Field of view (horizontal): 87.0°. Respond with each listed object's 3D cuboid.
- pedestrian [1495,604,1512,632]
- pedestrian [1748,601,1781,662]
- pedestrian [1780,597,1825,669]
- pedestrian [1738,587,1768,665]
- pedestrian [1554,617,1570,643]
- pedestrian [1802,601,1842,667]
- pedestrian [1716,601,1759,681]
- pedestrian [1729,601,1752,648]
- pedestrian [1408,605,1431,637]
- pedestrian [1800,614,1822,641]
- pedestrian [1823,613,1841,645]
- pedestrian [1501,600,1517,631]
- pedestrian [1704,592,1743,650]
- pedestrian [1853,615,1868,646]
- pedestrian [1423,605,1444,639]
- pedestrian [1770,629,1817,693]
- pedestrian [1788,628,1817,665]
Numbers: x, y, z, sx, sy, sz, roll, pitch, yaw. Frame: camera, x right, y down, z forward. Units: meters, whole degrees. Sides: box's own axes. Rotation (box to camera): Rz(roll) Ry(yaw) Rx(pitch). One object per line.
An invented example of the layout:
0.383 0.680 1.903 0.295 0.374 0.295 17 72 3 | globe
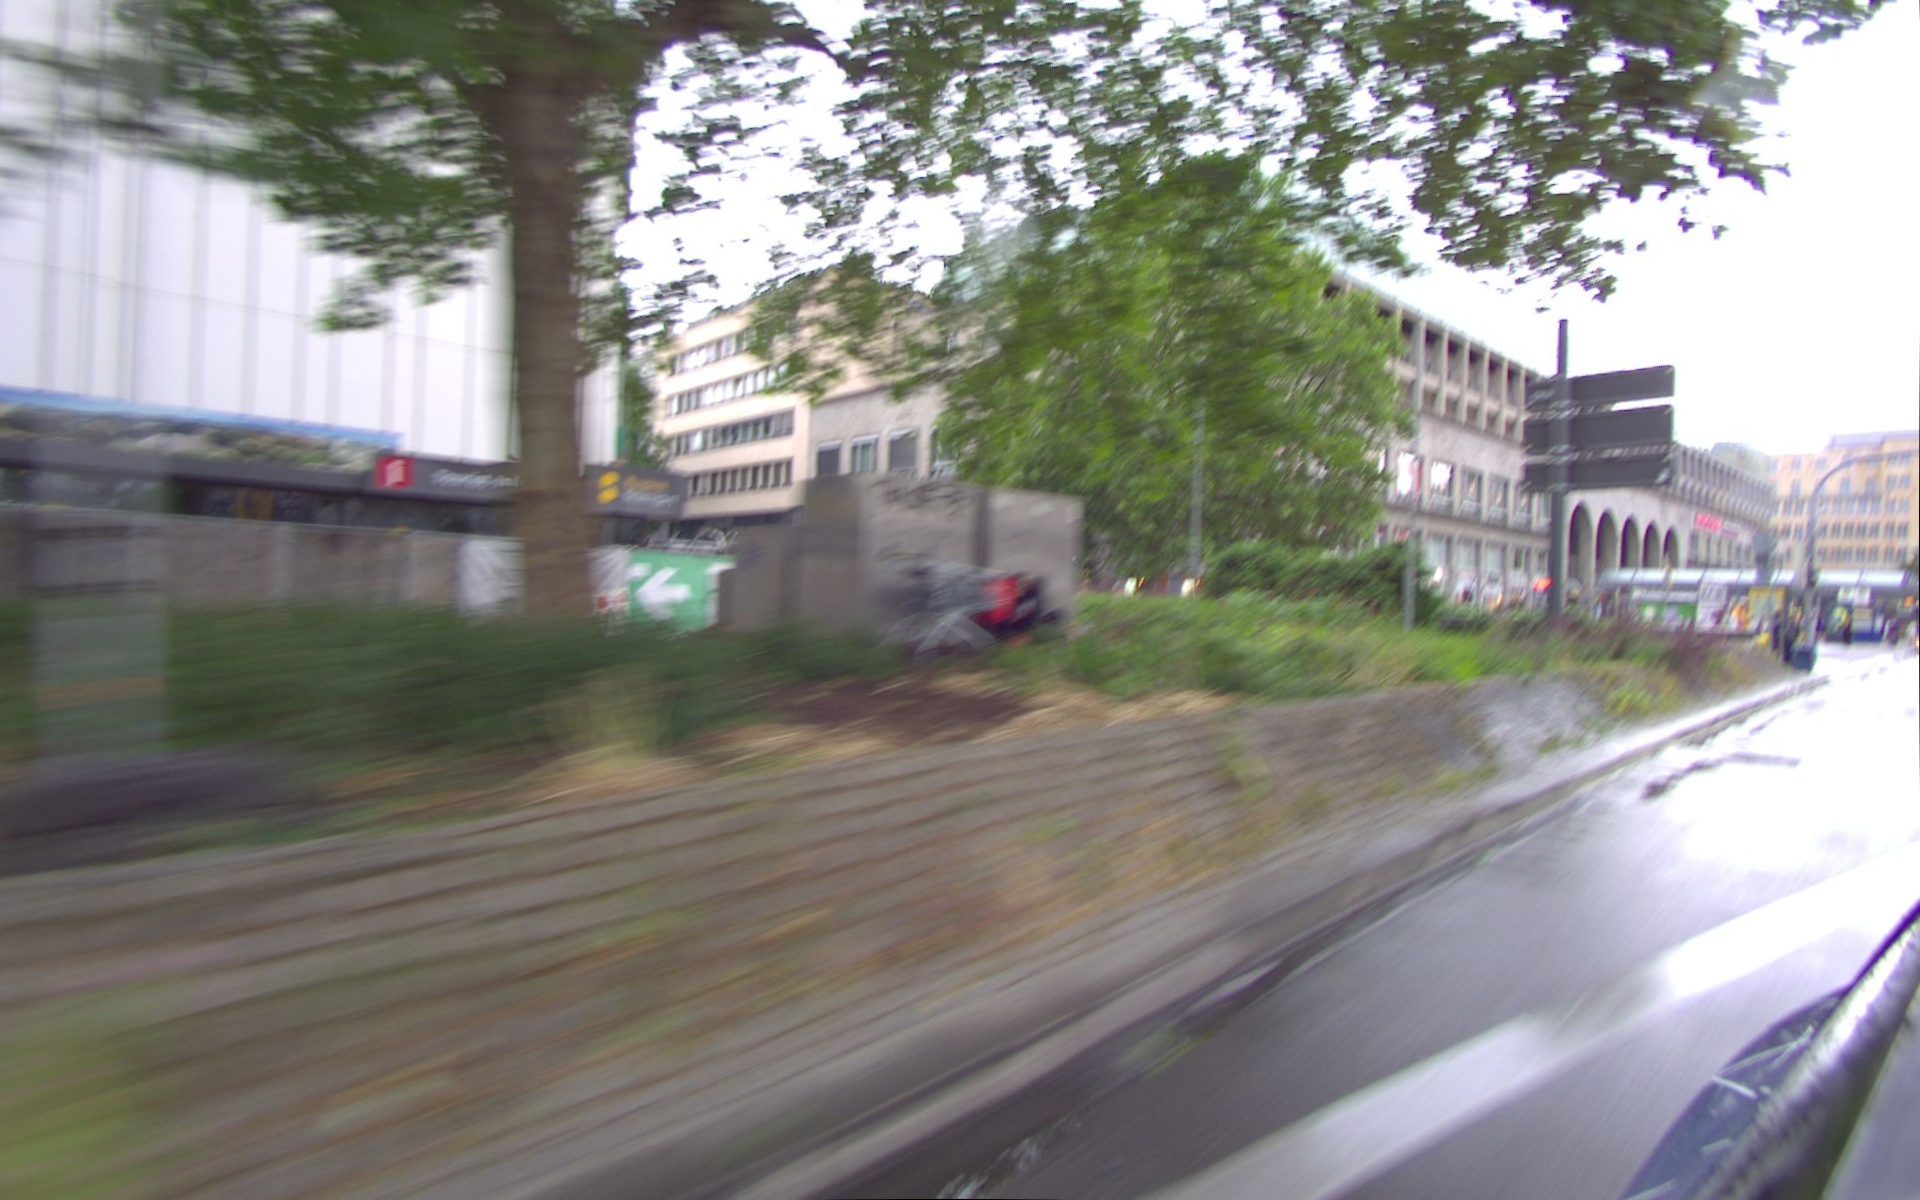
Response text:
33.425 1.122 62.242 0.763 1.718 0.722 2 -2 -43 | pedestrian
24.511 0.945 30.832 0.534 1.827 0.752 2 0 20 | pedestrian
22.705 0.886 27.290 0.783 1.862 0.939 2 0 33 | pedestrian
22.430 0.734 28.629 0.552 2.173 0.660 2 -1 33 | pedestrian
43.230 2.170 72.632 0.775 1.815 0.732 3 -1 -42 | pedestrian
24.581 0.947 28.876 0.742 1.827 0.701 2 -1 33 | pedestrian
21.660 1.138 28.196 0.707 2.173 0.711 2 0 -31 | pedestrian
33.149 1.035 42.977 0.705 1.957 0.778 2 -1 38 | pedestrian
22.491 1.020 49.499 0.767 1.543 0.672 3 0 -35 | pedestrian
57.676 1.861 68.599 0.779 1.827 0.986 2 0 20 | pedestrian
54.779 1.821 63.581 0.791 1.954 0.696 2 -1 38 | pedestrian
35.572 0.995 65.576 0.780 1.954 0.649 2 0 24 | pedestrian
20.996 0.567 27.840 0.621 1.575 0.659 2 -1 -29 | pedestrian
48.411 1.639 54.389 0.593 1.639 0.503 0 -2 43 | pedestrian
22.884 1.048 48.921 0.604 1.621 0.647 1 1 -36 | pedestrian
23.308 1.682 28.301 0.745 1.712 0.876 3 -1 -42 | pedestrian
39.419 2.181 47.339 0.773 1.662 0.789 2 0 -27 | pedestrian
